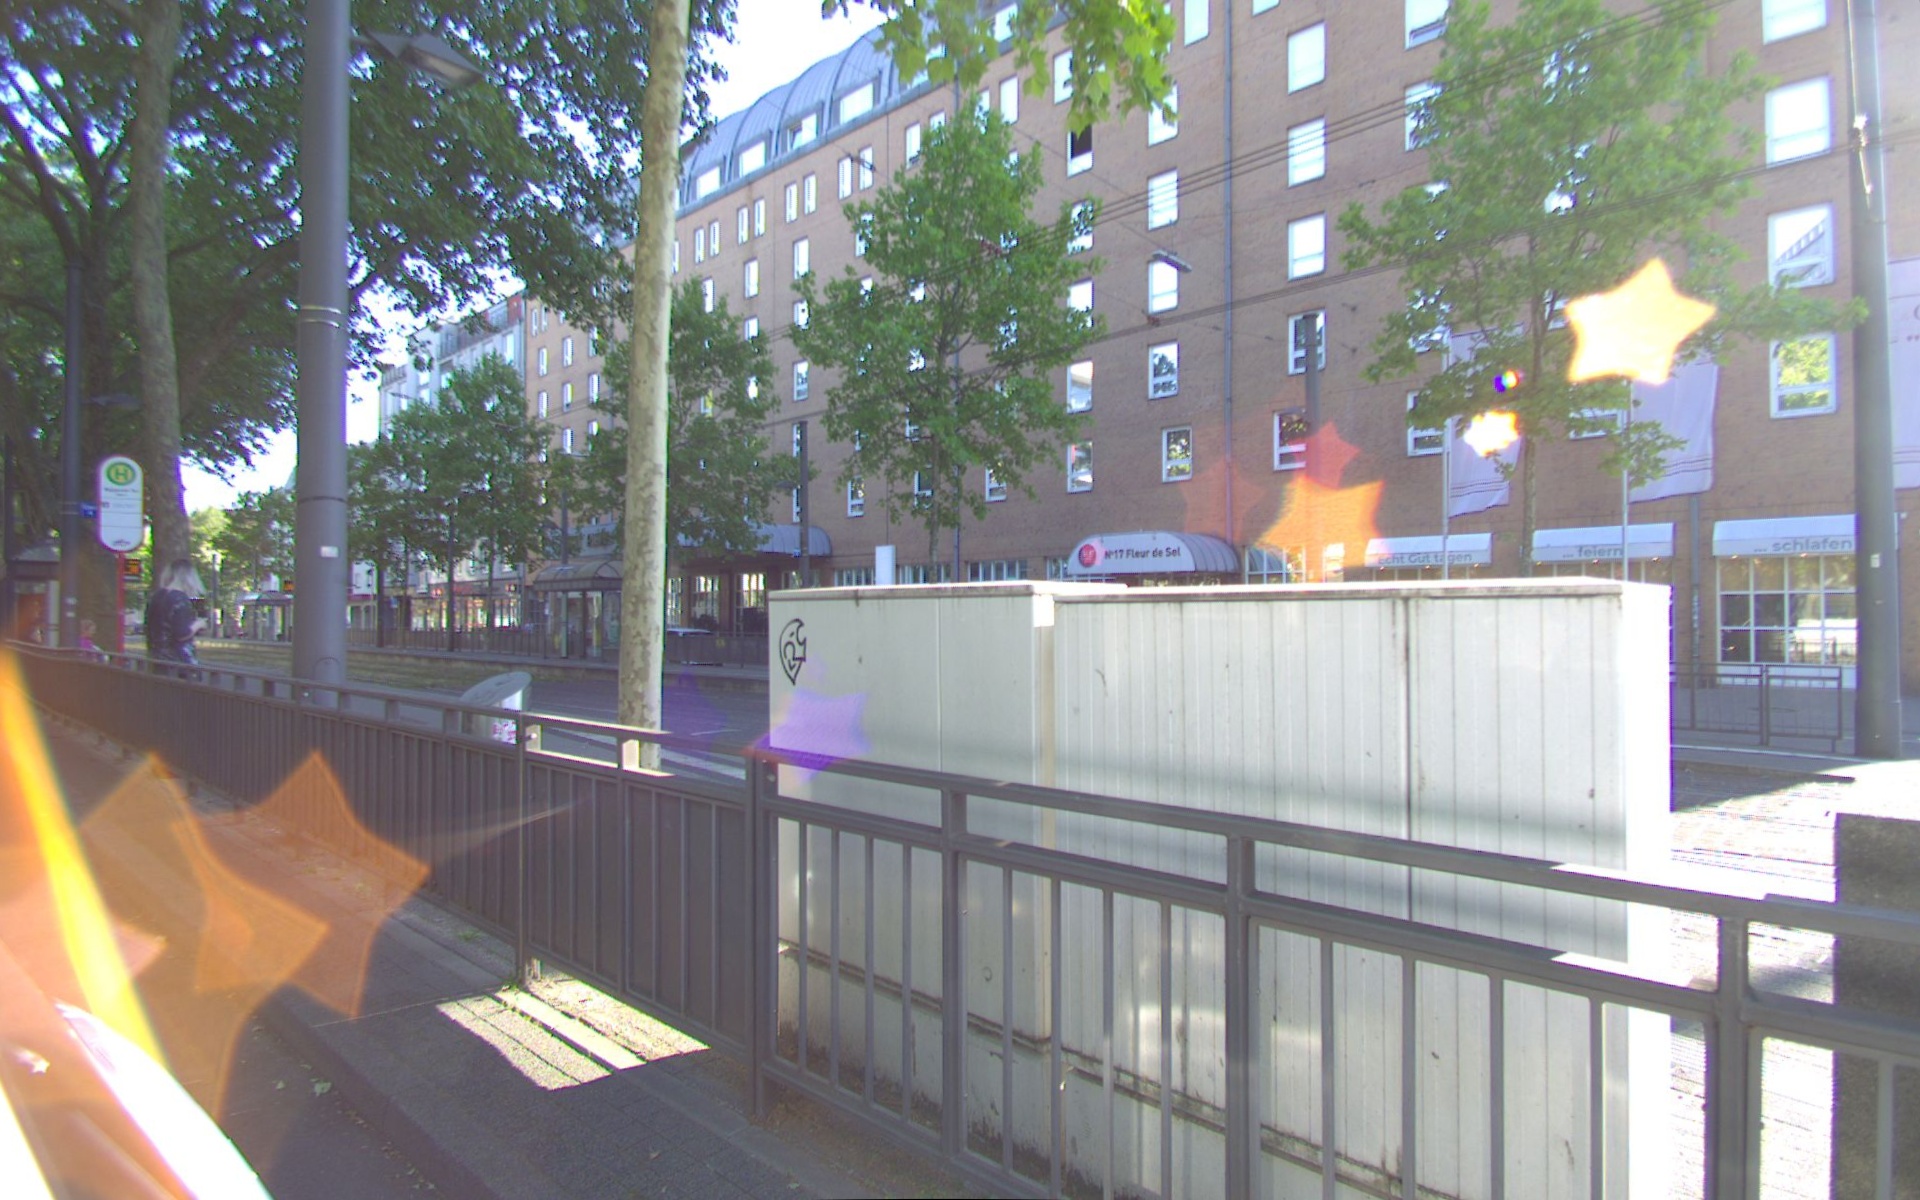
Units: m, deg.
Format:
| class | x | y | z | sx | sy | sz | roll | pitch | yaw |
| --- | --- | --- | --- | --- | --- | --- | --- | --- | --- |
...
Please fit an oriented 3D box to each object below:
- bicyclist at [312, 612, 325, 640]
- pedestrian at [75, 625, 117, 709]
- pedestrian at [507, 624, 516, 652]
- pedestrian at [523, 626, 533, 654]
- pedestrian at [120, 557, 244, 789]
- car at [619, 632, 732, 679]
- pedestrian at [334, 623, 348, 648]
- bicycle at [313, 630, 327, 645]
| class | x | y | z | sx | sy | sz | roll | pitch | yaw |
| --- | --- | --- | --- | --- | --- | --- | --- | --- | --- |
| bicyclist | -43.560 | 1.751 | 68.745 | 0.564 | 1.918 | 0.814 | 2 | -2 | -43 |
| pedestrian | -13.960 | 1.065 | 16.352 | 0.493 | 1.325 | 0.419 | 1 | -2 | -41 |
| pedestrian | -25.184 | 2.125 | 56.845 | 0.431 | 1.518 | 0.660 | 1 | -2 | -27 |
| pedestrian | -24.489 | 2.269 | 57.358 | 0.431 | 1.532 | 0.660 | 1 | -2 | -27 |
| pedestrian | -6.655 | 0.590 | 8.664 | 0.603 | 1.897 | 0.618 | 1 | 0 | 25 |
| car | -9.847 | 1.867 | 34.909 | 4.308 | 1.500 | 1.737 | -1 | -2 | 42 |
| pedestrian | -51.346 | 2.948 | 83.948 | 0.763 | 2.029 | 0.796 | -2 | -2 | 41 |
| bicycle | -43.570 | 2.542 | 68.854 | 0.444 | 1.012 | 1.754 | 2 | -2 | -44 |
